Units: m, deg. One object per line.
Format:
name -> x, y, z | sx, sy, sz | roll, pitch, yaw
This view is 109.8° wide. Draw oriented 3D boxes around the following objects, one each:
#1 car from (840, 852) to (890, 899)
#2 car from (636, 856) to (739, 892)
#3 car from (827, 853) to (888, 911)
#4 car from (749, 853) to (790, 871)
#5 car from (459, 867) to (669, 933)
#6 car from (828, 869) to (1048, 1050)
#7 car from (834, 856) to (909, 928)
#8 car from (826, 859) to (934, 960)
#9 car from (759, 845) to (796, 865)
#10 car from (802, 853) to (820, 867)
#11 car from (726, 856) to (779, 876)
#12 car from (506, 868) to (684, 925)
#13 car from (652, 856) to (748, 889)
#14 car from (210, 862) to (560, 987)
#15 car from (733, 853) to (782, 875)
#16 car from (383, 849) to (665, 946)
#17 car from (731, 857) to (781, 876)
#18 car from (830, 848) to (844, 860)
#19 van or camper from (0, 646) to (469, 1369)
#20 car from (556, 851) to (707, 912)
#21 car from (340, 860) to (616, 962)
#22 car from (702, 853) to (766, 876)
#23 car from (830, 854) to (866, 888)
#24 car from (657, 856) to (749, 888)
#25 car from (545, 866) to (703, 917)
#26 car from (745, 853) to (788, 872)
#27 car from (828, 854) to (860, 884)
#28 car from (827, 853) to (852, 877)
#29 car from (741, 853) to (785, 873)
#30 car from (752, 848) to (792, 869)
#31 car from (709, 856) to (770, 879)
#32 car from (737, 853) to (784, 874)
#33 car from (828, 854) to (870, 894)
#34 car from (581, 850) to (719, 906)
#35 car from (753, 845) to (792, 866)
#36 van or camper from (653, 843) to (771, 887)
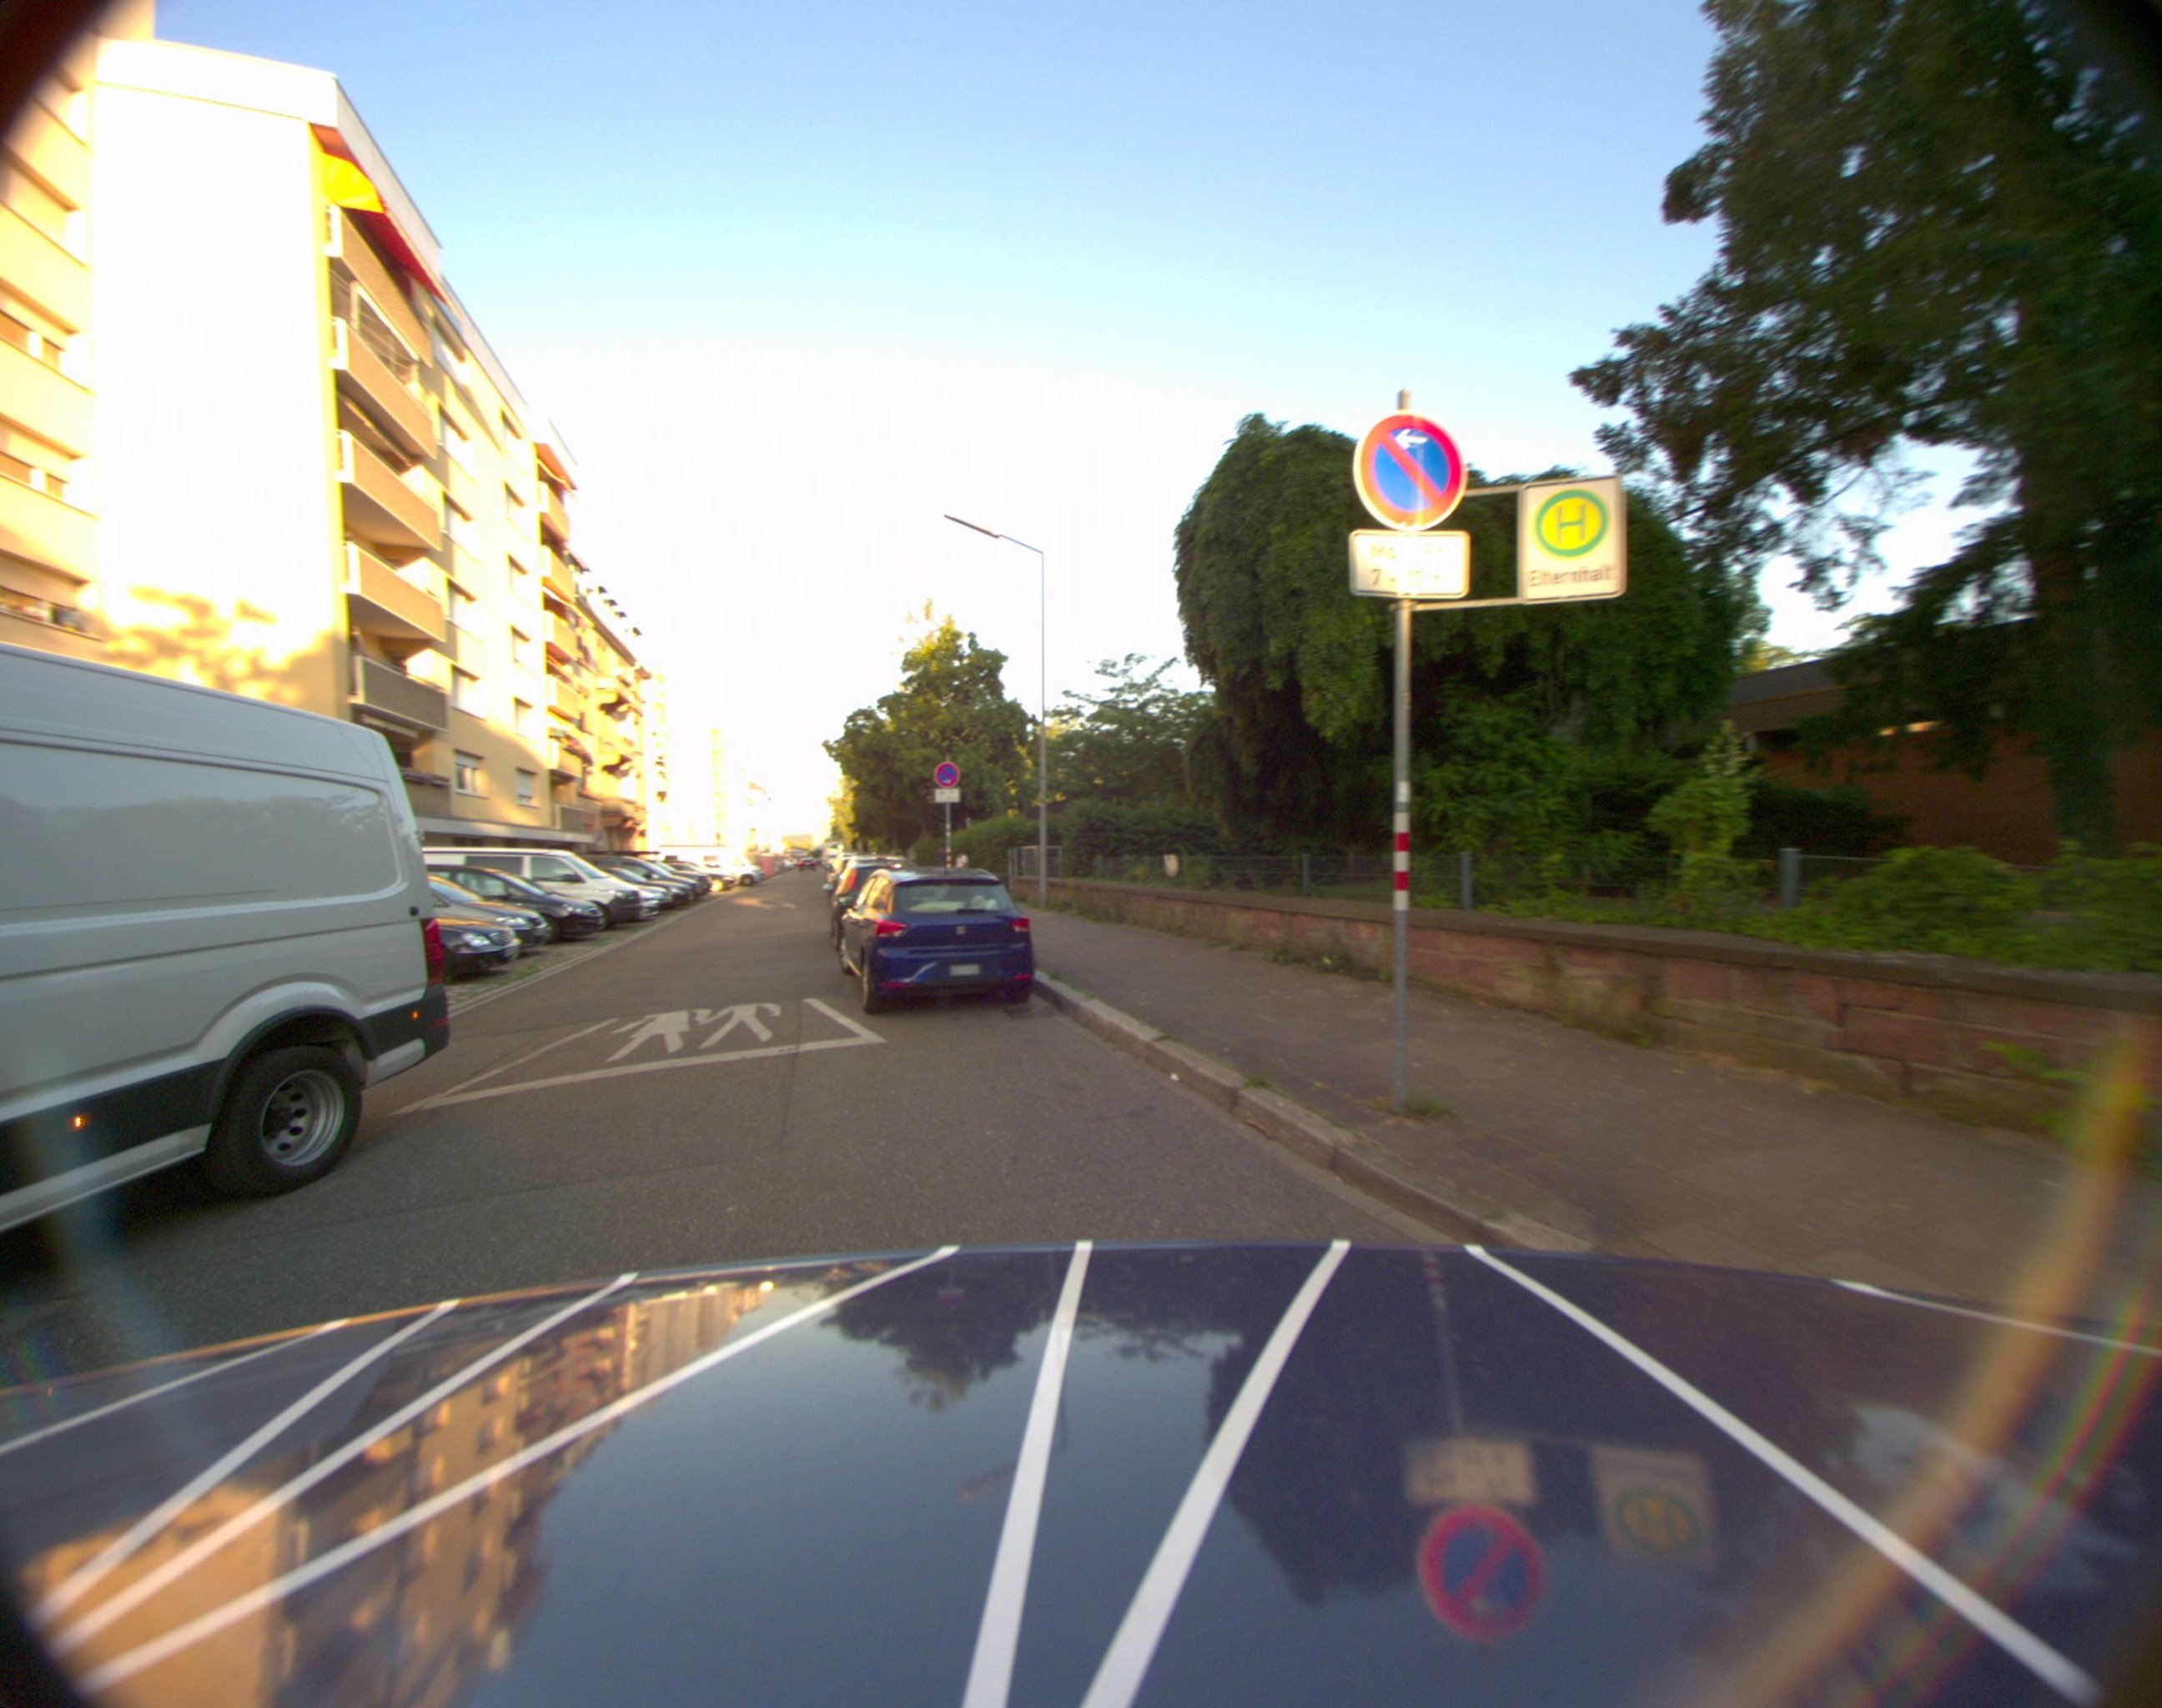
car -> -7.891, 0.728, 27.639 | 1.535, 1.576, 2.949 | -1, 1, -20
car -> -19.749, 0.976, 38.338 | 4.367, 1.650, 1.740 | -1, 1, -18
car -> -6.833, 0.773, 23.064 | 1.535, 1.576, 3.396 | -1, 1, -20
car -> -35.681, 0.889, 87.243 | 4.193, 1.987, 1.836 | -1, 1, -18
car -> -13.832, 1.187, 20.649 | 4.369, 1.535, 1.740 | -1, 1, -18
car -> -1.858, 0.980, 8.790 | 1.725, 1.476, 3.782 | -1, 1, -23
car -> -5.215, 0.856, 18.704 | 1.535, 1.576, 3.124 | -1, 1, -20
car -> -3.674, 0.862, 13.521 | 1.535, 1.476, 3.504 | -1, 1, -20
car -> -38.573, 0.101, 96.750 | 4.193, 2.461, 1.836 | -1, 1, -18
car -> -32.695, 0.690, 92.146 | 1.744, 1.650, 4.357 | -1, 1, -17
car -> -29.344, 1.093, 67.978 | 4.193, 1.650, 1.740 | -1, 1, -18
car -> -14.412, 1.216, 22.813 | 4.147, 1.452, 1.740 | -1, 1, -18
car -> -20.431, 0.963, 40.895 | 4.367, 1.650, 1.740 | -1, 1, -18
car -> -11.717, 1.089, 13.201 | 4.058, 1.803, 1.825 | -1, 1, -22
car -> -31.322, 0.945, 73.774 | 4.193, 1.987, 1.740 | -1, 1, -18
car -> -13.229, 0.954, 18.478 | 5.081, 2.073, 1.997 | -1, 1, -17
car -> -30.345, 1.124, 71.055 | 4.193, 1.650, 1.740 | -1, 1, -18
car -> -35.578, -0.004, 110.689 | 1.805, 1.576, 2.949 | -1, 1, -20
van or camper -> -4.787, 0.592, 1.519 | 2.095, 2.575, 6.866 | -3, 1, -7
car -> -16.046, 0.941, 27.397 | 4.367, 1.986, 1.740 | -1, 1, -18
car -> -12.296, 1.087, 15.879 | 4.116, 1.803, 1.825 | -1, 1, -22
car -> -26.485, 0.796, 58.128 | 4.193, 1.650, 1.740 | -1, 1, -18
car -> -11.603, 0.799, 37.720 | 1.535, 1.576, 2.949 | -1, 1, -20
car -> -21.201, 0.958, 42.795 | 4.367, 1.650, 1.740 | -1, 1, -18
car -> -14.960, 1.180, 25.134 | 4.147, 1.452, 1.740 | -1, 1, -18
car -> -34.386, 0.907, 83.142 | 4.193, 1.987, 1.836 | -1, 1, -18
car -> -13.075, 0.784, 41.865 | 1.535, 1.576, 2.949 | -1, 1, -20
car -> -16.620, 0.744, 52.266 | 1.535, 1.576, 2.949 | -1, 1, -20
car -> -33.787, 0.919, 80.824 | 4.193, 1.987, 1.836 | -1, 1, -18
car -> -36.742, 0.555, 90.403 | 4.193, 2.428, 1.836 | -1, 1, -18
car -> -27.208, 1.059, 60.627 | 4.193, 1.650, 1.740 | -1, 1, -18
car -> -32.778, 0.930, 77.895 | 4.193, 1.987, 2.027 | -1, 1, -18
car -> -10.084, 0.820, 32.920 | 1.535, 1.576, 2.949 | -1, 1, -20
car -> -16.680, 0.885, 29.640 | 4.367, 1.986, 1.740 | -1, 1, -18
car -> -37.806, 0.123, 93.170 | 4.193, 2.461, 1.836 | -1, 1, -18
van or camper -> -22.280, 0.597, 46.174 | 6.108, 2.476, 2.193 | -1, 1, -18
